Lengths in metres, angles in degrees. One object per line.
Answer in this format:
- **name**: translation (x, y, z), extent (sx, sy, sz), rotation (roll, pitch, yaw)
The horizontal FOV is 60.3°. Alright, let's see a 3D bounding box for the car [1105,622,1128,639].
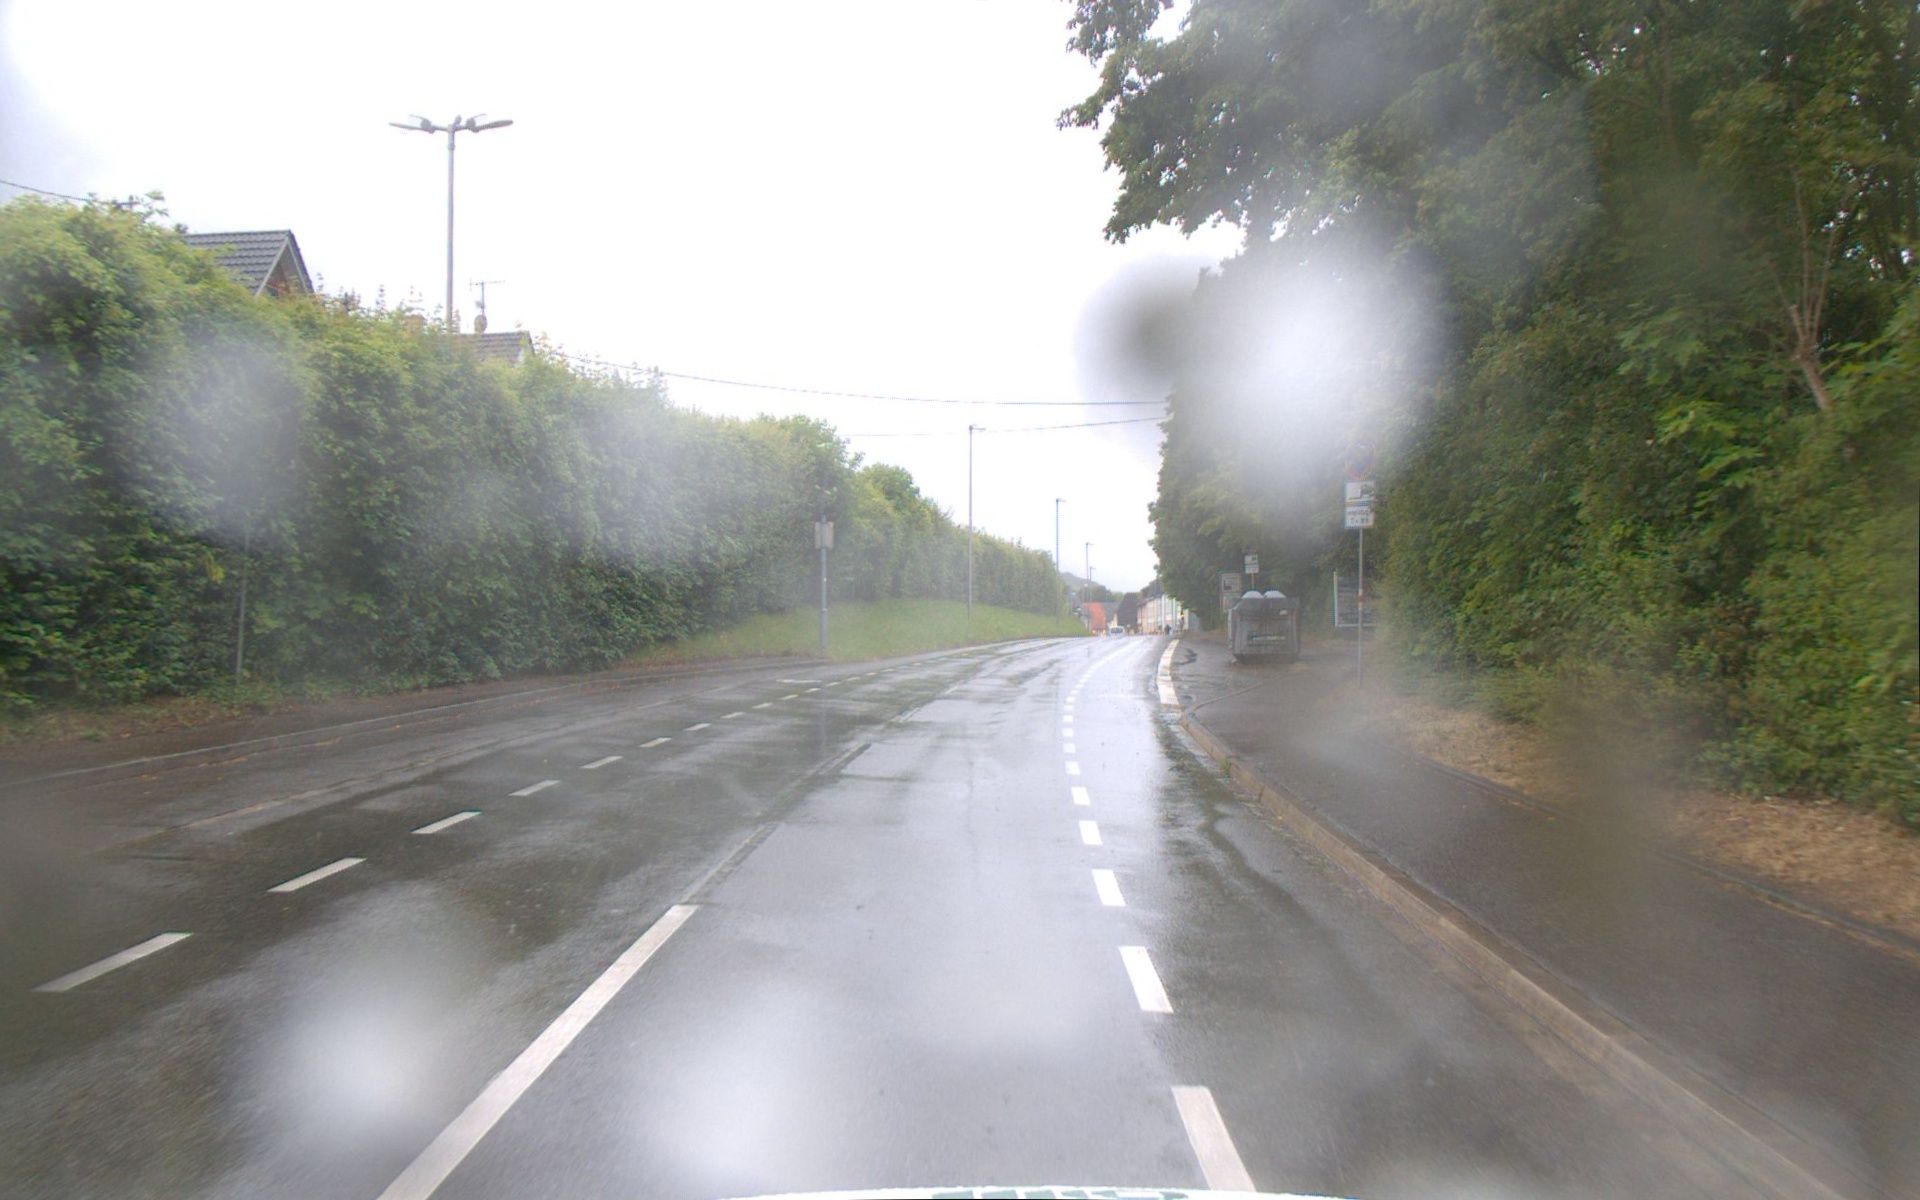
- **car**: translation (16.076, 3.135, 170.065), extent (1.953, 1.639, 3.999), rotation (1, 0, -1)
